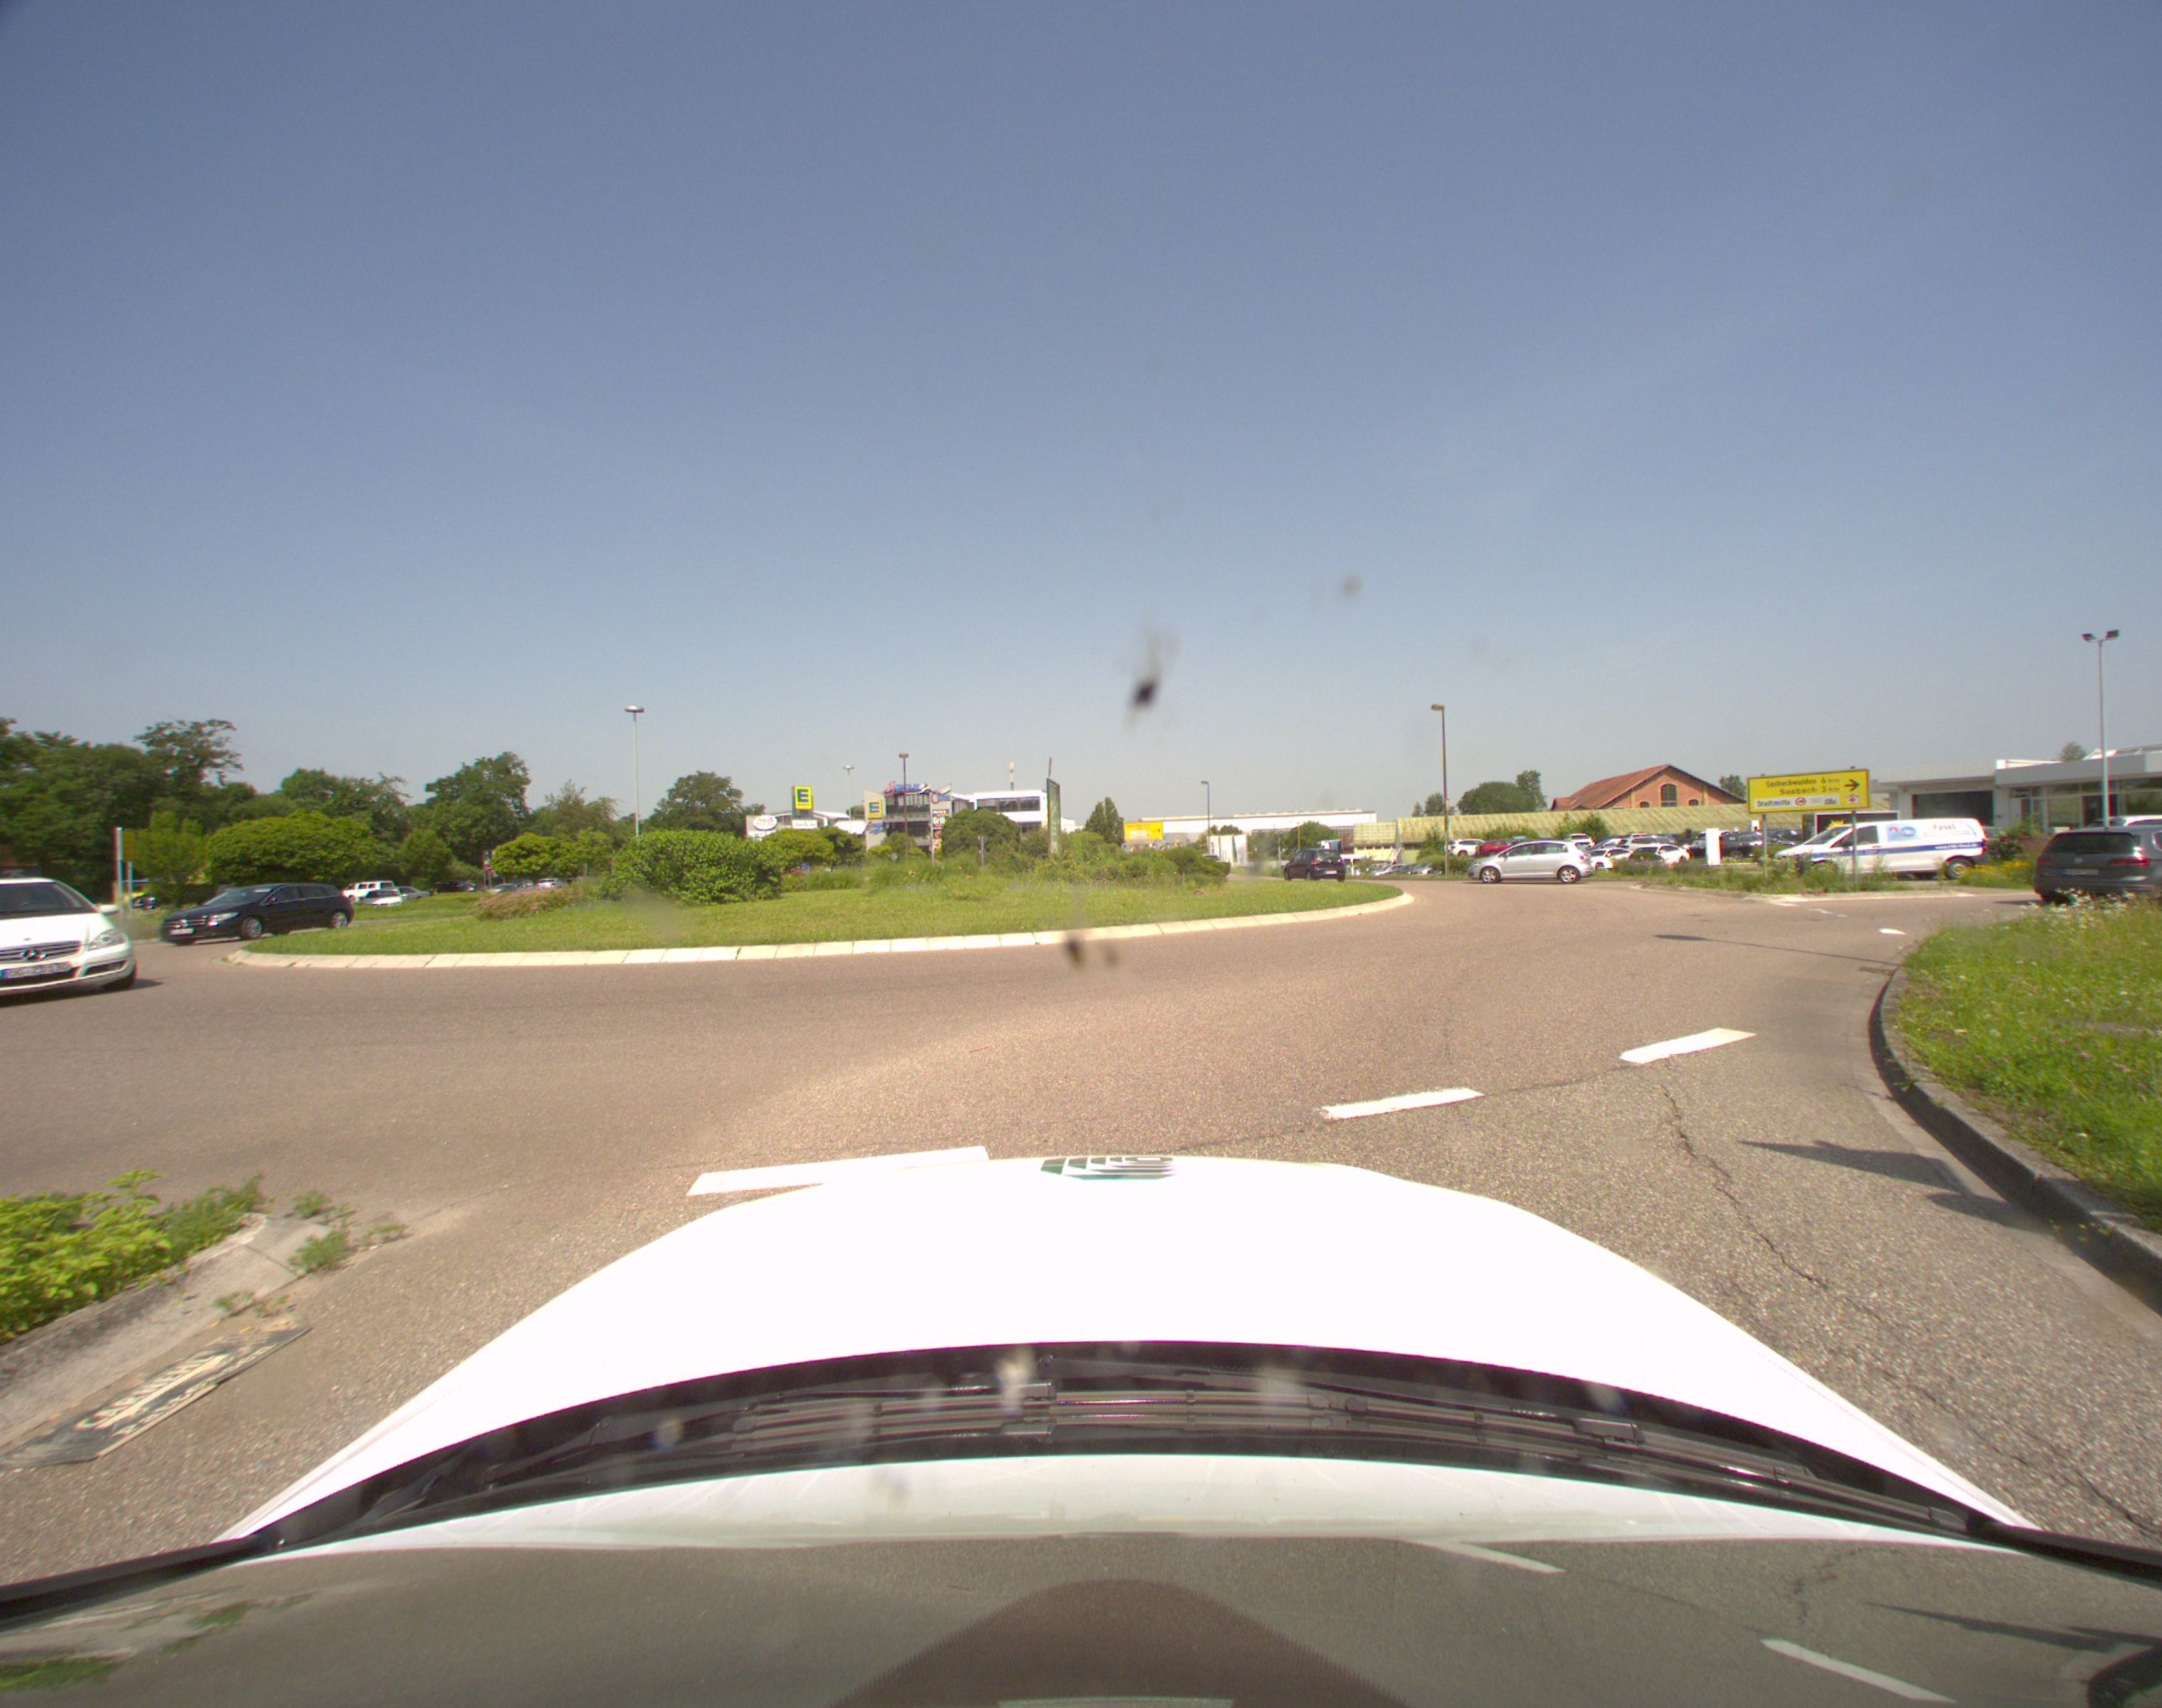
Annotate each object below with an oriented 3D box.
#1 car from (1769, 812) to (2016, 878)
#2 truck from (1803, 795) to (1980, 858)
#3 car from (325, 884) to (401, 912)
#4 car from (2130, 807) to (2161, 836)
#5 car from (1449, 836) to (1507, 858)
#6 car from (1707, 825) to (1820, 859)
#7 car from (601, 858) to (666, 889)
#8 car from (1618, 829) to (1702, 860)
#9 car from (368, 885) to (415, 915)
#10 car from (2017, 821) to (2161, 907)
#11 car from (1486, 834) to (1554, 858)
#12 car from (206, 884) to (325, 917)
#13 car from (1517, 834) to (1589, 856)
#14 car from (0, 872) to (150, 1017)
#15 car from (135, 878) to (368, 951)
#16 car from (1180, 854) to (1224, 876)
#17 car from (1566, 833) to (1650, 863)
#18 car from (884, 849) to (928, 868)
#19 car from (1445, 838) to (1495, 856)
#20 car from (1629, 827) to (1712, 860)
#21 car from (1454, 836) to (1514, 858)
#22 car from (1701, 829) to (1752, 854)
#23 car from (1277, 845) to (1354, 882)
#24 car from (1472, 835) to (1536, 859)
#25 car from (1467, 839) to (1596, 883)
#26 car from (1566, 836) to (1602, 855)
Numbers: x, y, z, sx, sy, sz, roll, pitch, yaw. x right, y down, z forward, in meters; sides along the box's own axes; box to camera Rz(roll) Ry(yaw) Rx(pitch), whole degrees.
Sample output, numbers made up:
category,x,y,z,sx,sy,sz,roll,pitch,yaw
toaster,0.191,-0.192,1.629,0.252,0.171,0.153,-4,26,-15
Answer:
category,x,y,z,sx,sy,sz,roll,pitch,yaw
car,25.324,-0.229,25.705,5.167,1.938,1.871,-1,-1,22
truck,38.350,-1.251,38.741,5.559,2.665,1.960,-2,0,22
car,-41.334,2.529,46.920,2.830,1.497,1.578,0,-1,-14
car,62.587,-1.932,45.766,3.992,1.586,1.920,-2,0,22
car,35.497,-0.607,72.961,4.418,1.747,1.847,-2,-1,17
car,38.508,-0.635,46.089,4.377,1.500,1.958,-5,-2,17
car,-29.890,1.292,54.524,1.677,2.014,4.010,-1,-1,9
car,37.566,-0.608,52.933,3.964,1.750,1.958,-4,-1,17
car,-37.650,2.461,44.441,1.595,1.497,4.509,1,-2,-45
car,20.866,0.130,15.758,4.027,1.484,1.768,-2,0,-10
car,35.040,-0.628,65.152,4.418,1.635,1.958,-2,-1,17
car,-42.929,2.394,43.033,1.865,1.561,4.404,0,-1,-1
car,35.994,-0.694,62.256,4.418,1.500,1.958,-2,0,17
car,-14.155,1.092,10.659,3.843,1.603,1.798,0,2,29
car,-23.002,1.612,22.857,1.741,1.530,4.227,-4,1,11
car,8.068,0.768,54.495,1.779,1.407,4.073,0,-1,-9
car,32.370,-0.373,50.000,4.574,1.570,1.758,-3,-1,-17
car,-15.112,0.412,70.349,3.286,1.574,1.563,-2,-2,17
car,35.934,-0.636,75.336,3.845,1.532,1.776,-2,-1,17
car,34.812,-0.611,48.095,4.671,1.570,1.755,-4,0,-23
car,34.929,-0.587,70.671,4.418,1.747,1.847,-2,-1,17
car,46.510,-0.901,58.667,4.286,1.586,1.640,-2,0,-35
car,10.439,0.440,36.555,1.779,1.530,3.986,0,-1,-10
car,35.161,-0.591,67.802,4.418,1.747,1.958,-2,-1,17
car,16.679,0.272,30.207,4.033,1.530,1.796,-1,-1,32
car,46.354,-0.774,75.133,1.901,1.596,4.325,-2,-1,19
